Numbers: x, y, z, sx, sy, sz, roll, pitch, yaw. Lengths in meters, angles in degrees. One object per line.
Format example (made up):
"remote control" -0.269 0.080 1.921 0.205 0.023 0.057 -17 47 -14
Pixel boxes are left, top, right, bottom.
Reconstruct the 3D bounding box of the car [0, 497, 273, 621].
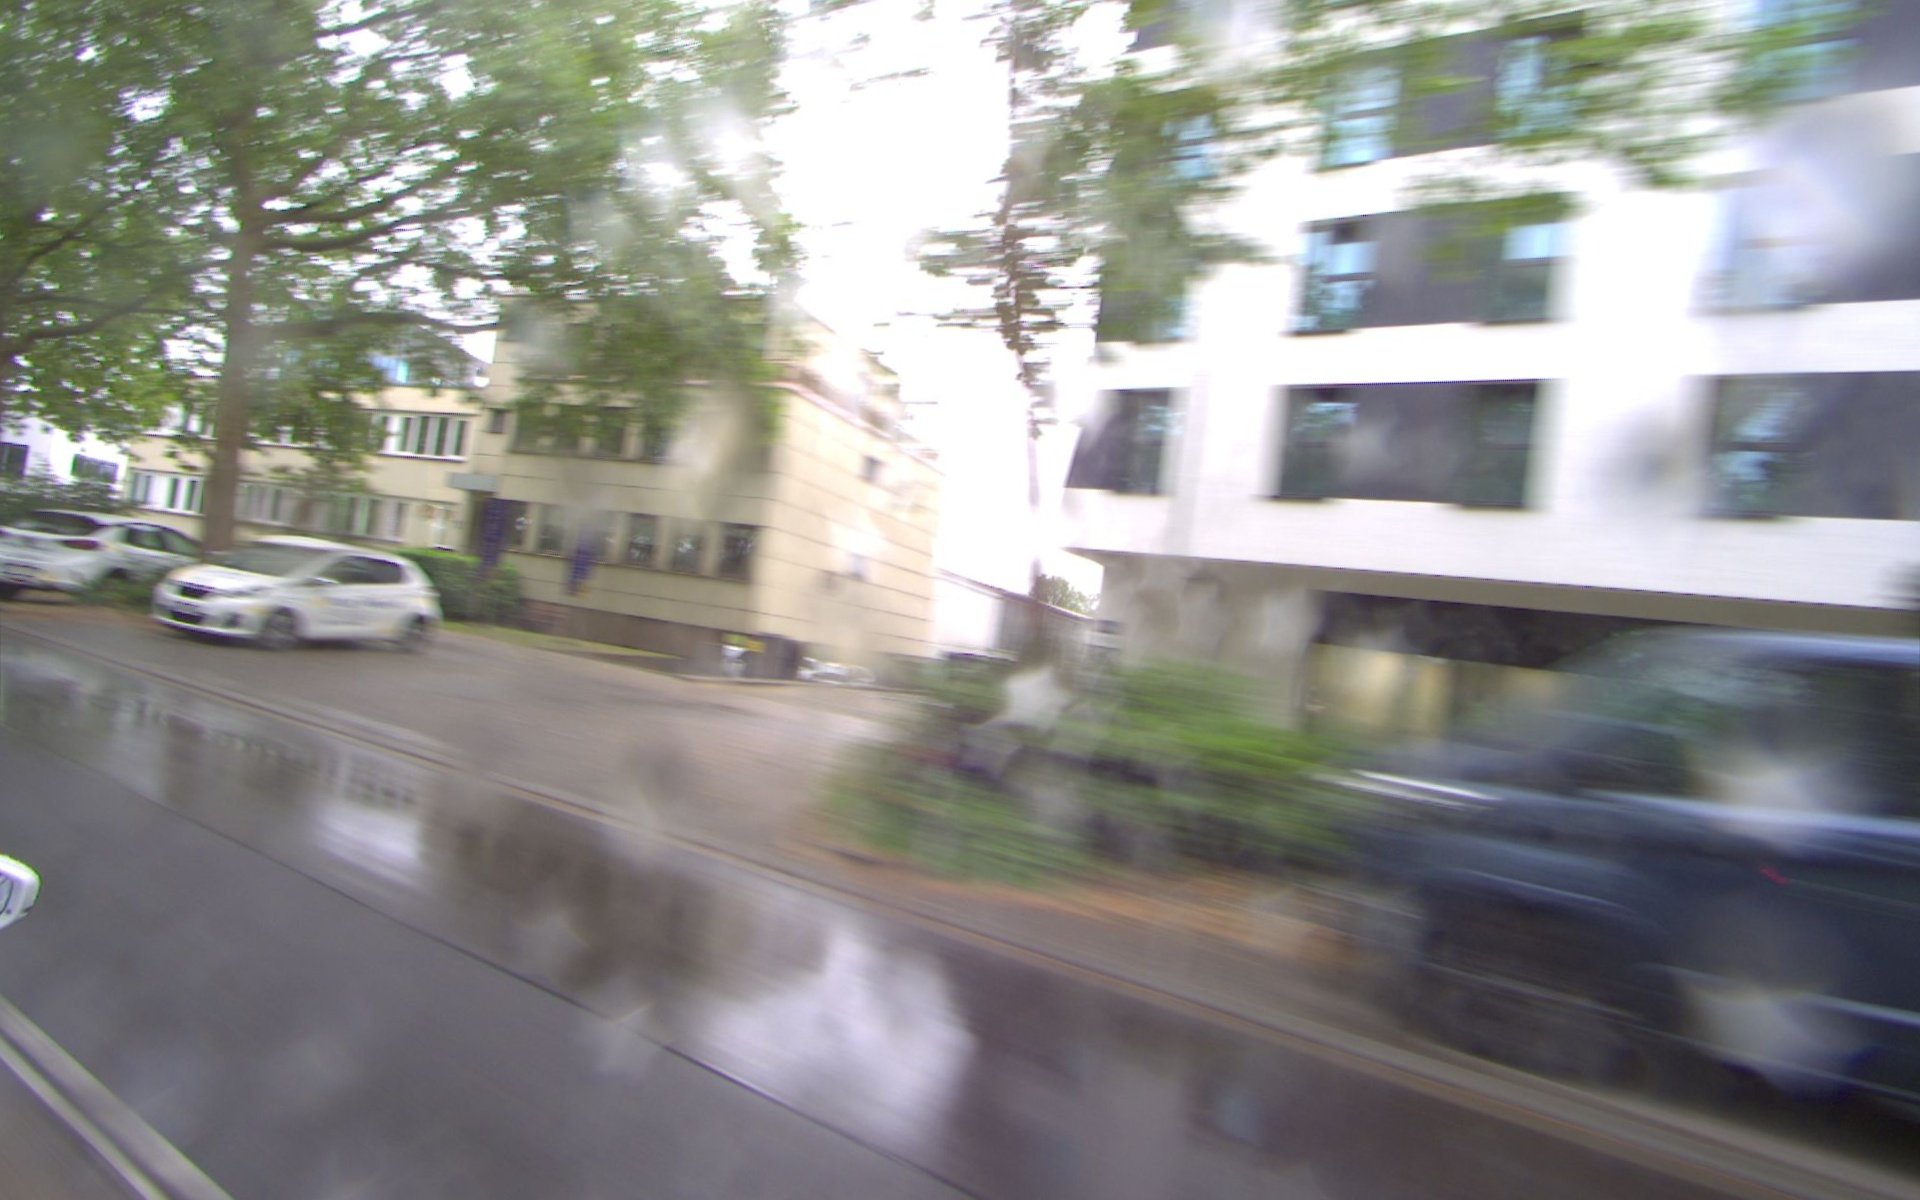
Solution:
"car" -13.369 -0.570 16.227 1.717 1.444 4.042 8 -3 -1

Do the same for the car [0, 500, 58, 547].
"car" -42.983 -3.623 44.209 1.748 1.776 4.558 7 -3 21

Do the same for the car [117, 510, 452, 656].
"car" -9.468 -0.134 14.489 1.716 1.521 3.652 8 -2 14

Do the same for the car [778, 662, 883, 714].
"car" -4.621 3.194 36.521 1.963 1.512 4.004 7 -3 21

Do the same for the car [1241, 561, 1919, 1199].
"car" 4.269 1.191 4.150 5.439 2.050 2.126 6 -3 34

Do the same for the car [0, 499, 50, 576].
"car" -21.383 -1.539 20.619 1.718 1.555 4.041 8 -3 -3
